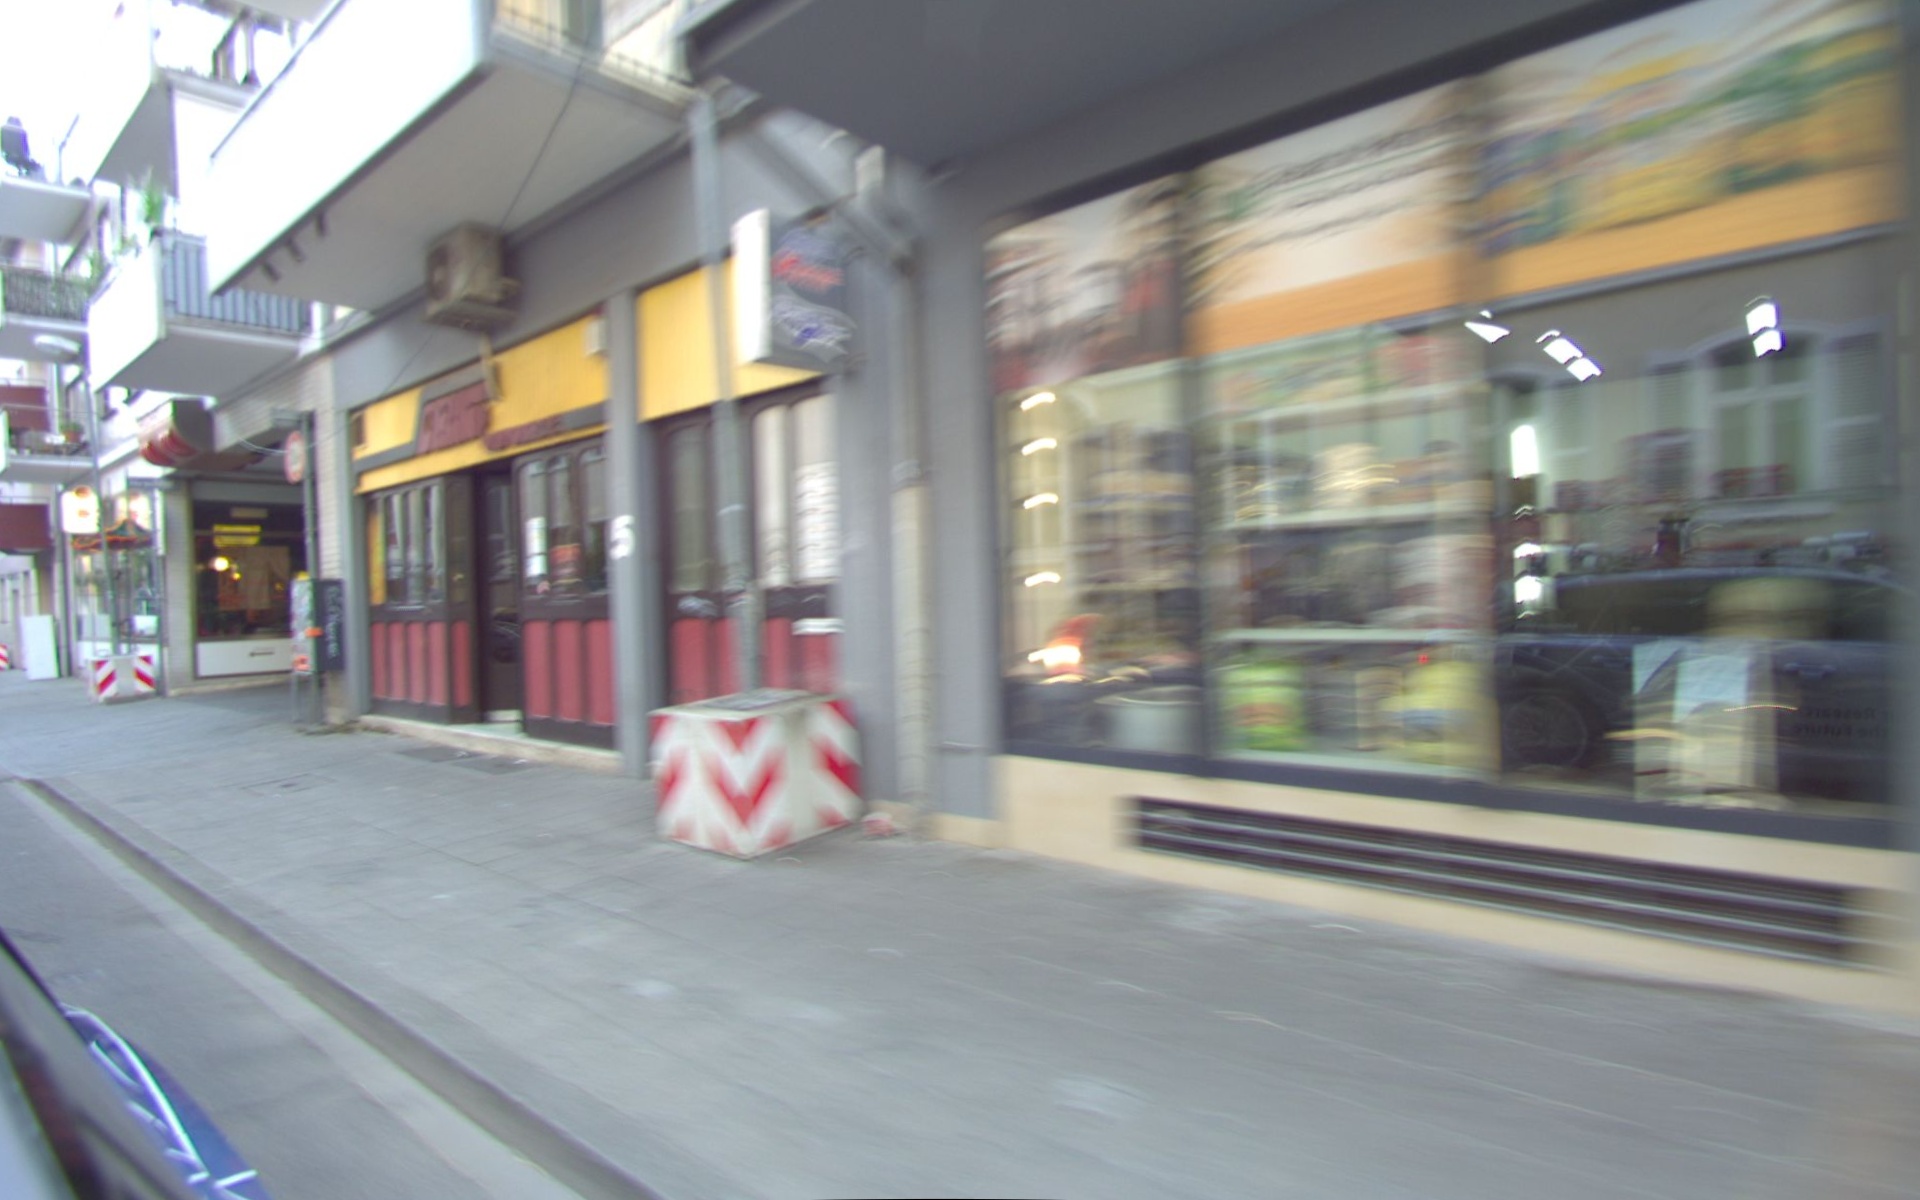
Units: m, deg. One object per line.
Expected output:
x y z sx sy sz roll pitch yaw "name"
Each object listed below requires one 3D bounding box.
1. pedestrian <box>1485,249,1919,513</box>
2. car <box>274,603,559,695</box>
8.273 -2.207 11.477 1.967 2.029 4.009 -1 -1 -11 "pedestrian"
-10.110 0.849 19.080 2.019 1.432 4.272 -2 0 40 "car"
